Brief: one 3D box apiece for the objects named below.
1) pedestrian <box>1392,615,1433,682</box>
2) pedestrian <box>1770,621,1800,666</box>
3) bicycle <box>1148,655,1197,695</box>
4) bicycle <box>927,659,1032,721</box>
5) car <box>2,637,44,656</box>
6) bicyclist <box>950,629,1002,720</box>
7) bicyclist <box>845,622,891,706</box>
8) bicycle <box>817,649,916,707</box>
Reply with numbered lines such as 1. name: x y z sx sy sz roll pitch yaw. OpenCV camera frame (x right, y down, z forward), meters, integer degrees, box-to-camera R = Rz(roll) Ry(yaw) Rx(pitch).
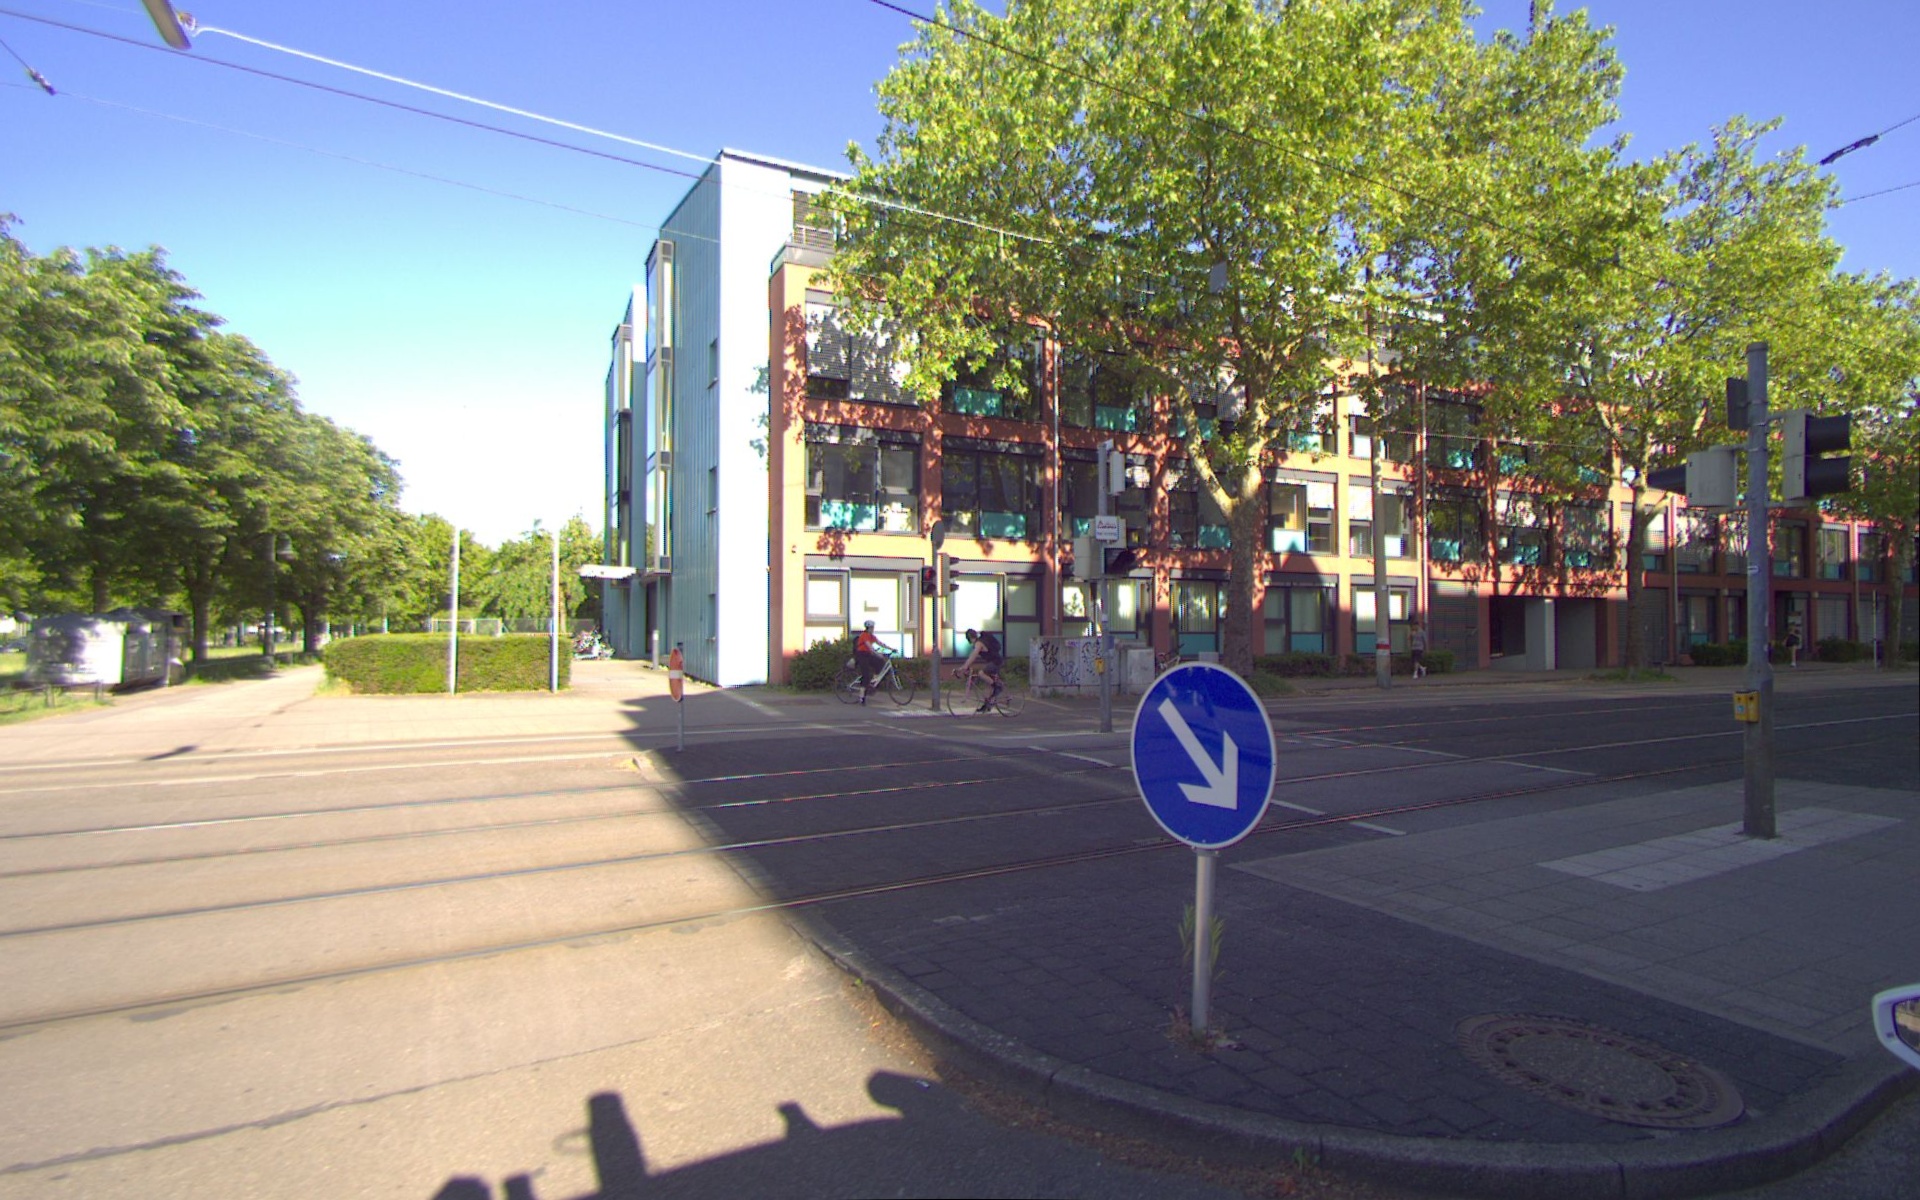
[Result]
1. pedestrian: 14.093 1.490 31.304 0.773 2.040 0.904 0 0 -35
2. pedestrian: 32.952 1.729 40.105 0.889 1.741 0.623 0 0 -27
3. bicycle: 5.182 1.815 24.480 0.514 0.918 1.537 -1 -2 40
4. bicycle: 0.372 1.675 18.950 1.900 1.056 0.642 0 0 -27
5. car: -90.916 4.479 97.488 1.791 1.765 3.865 0 -2 -23
6. bicyclist: 0.302 1.383 18.914 0.771 1.633 0.642 0 0 -27
7. bicyclist: -1.907 1.314 20.885 0.914 1.715 0.607 0 0 -1
8. bicycle: -1.923 1.614 20.888 1.995 1.144 0.633 1 0 -1
